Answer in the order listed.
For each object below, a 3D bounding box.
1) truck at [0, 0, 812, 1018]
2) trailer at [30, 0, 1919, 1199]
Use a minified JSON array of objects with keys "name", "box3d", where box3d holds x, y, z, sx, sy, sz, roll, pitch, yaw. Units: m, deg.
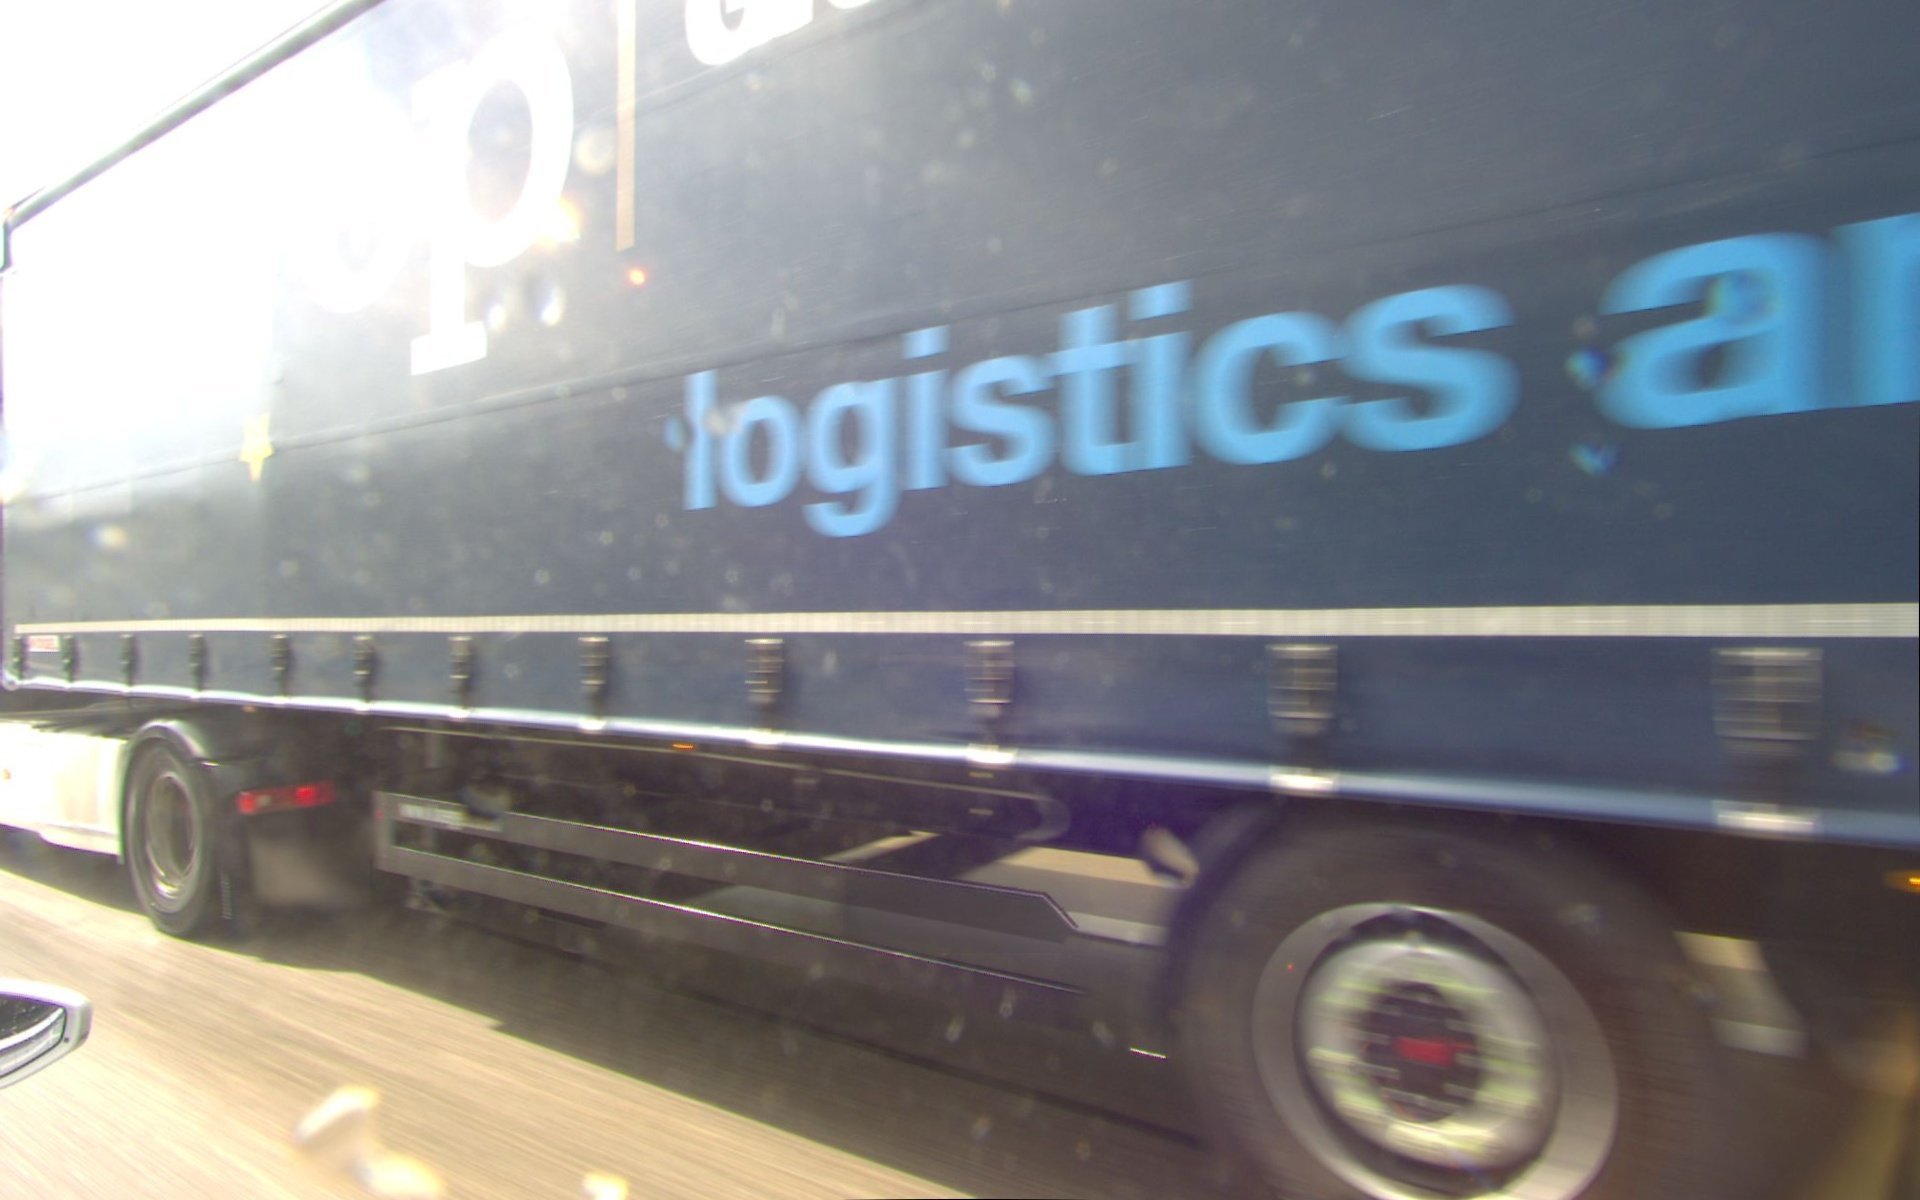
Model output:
[{"name":"truck","box3d":[-4.586,-0.366,6.785,7.187,4.046,2.602,-1,-2,33]},{"name":"trailer","box3d":[1.278,-0.517,3.033,13.866,4.046,2.629,-1,-2,33]}]
